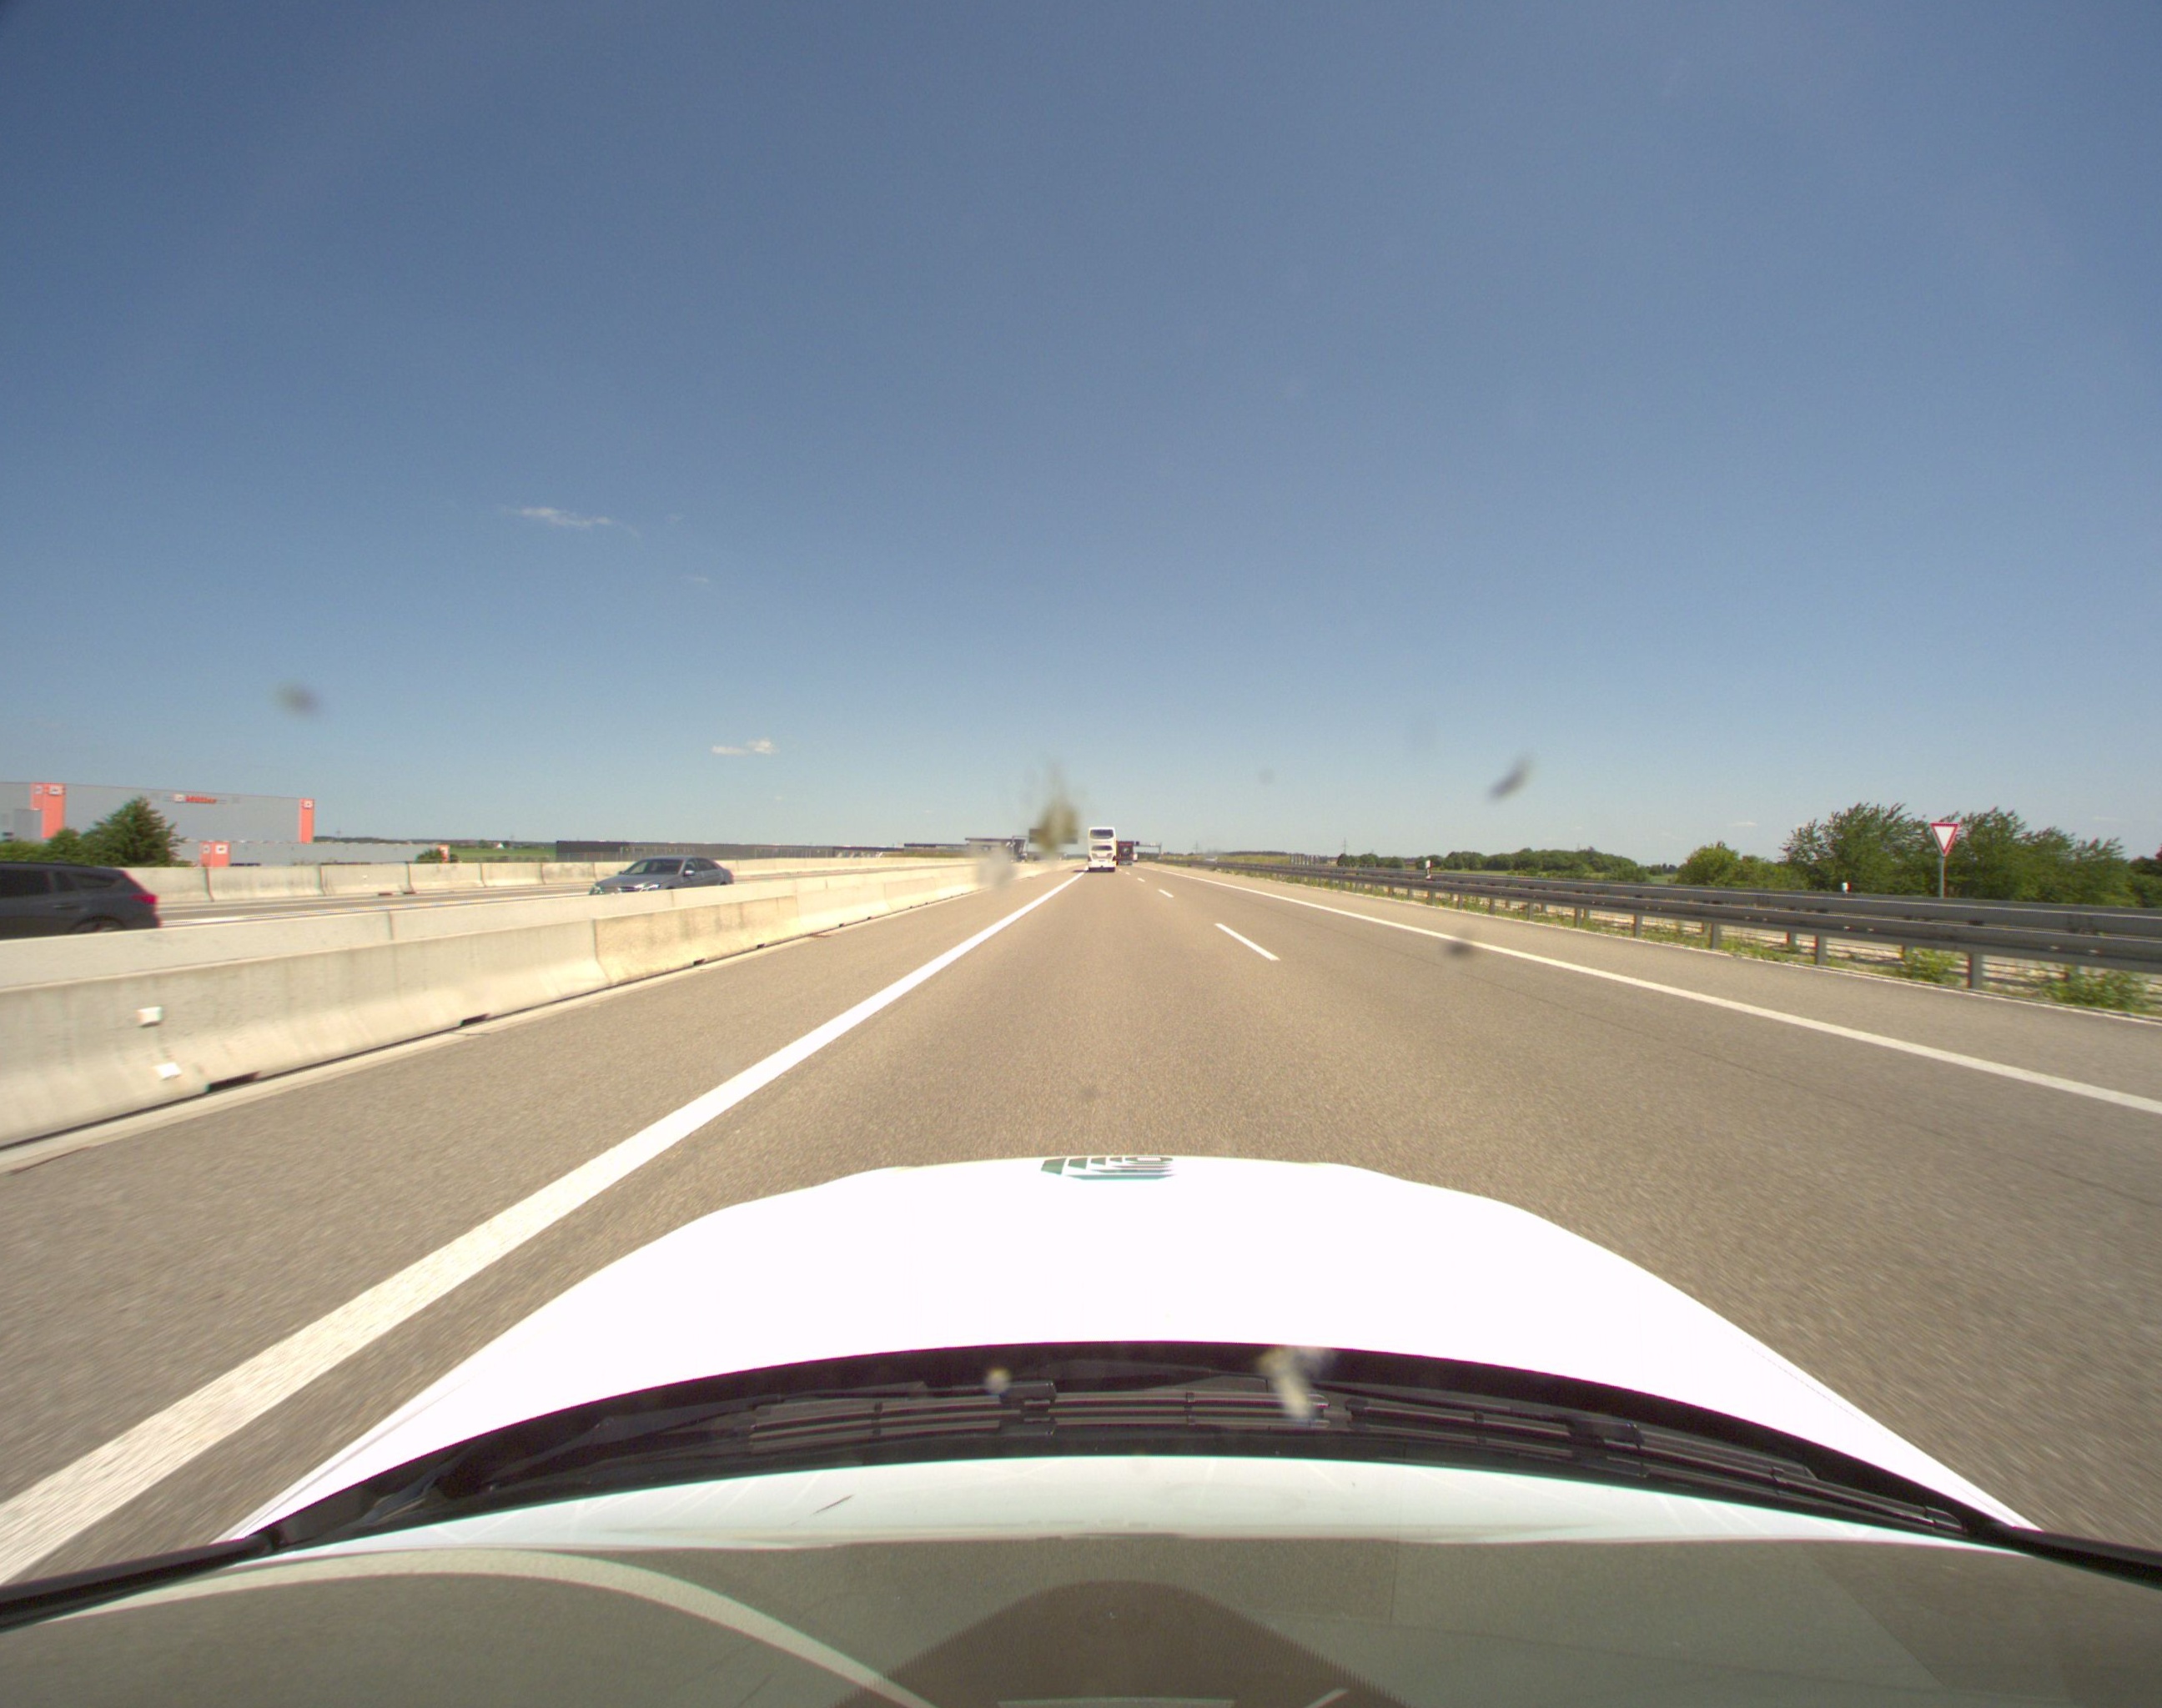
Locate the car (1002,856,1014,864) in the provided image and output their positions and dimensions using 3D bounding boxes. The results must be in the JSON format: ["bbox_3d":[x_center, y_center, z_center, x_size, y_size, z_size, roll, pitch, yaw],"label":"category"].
[{"bbox_3d":[-13.528,1.115,151.010,1.903,1.459,4.285,0,0,1],"label":"car"}]

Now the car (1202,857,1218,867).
[{"bbox_3d":[19.883,1.230,125.579,1.885,1.529,4.261,0,0,0],"label":"car"}]

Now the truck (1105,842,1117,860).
[{"bbox_3d":[6.454,-0.584,175.121,2.429,3.789,6.494,0,0,1],"label":"truck"}]

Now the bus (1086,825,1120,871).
[{"bbox_3d":[2.015,-0.546,76.478,2.970,3.975,9.105,0,0,1],"label":"bus"}]

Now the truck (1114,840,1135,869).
[{"bbox_3d":[7.624,0.151,141.146,3.365,4.464,13.577,0,-2,4],"label":"truck"}]

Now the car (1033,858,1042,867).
[{"bbox_3d":[-10.638,2.064,199.517,1.877,2.018,4.738,0,0,3],"label":"car"}]

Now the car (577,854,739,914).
[{"bbox_3d":[-11.156,0.725,21.886,1.835,1.420,4.528,0,0,2],"label":"car"}]

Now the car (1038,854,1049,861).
[{"bbox_3d":[-8.214,0.798,179.799,1.985,1.669,4.652,0,0,3],"label":"car"}]

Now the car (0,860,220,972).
[{"bbox_3d":[-14.954,0.820,10.724,1.905,1.420,4.910,0,0,2],"label":"car"}]

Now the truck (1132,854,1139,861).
[{"bbox_3d":[17.232,1.150,259.048,1.986,2.343,4.952,0,0,2],"label":"truck"}]
